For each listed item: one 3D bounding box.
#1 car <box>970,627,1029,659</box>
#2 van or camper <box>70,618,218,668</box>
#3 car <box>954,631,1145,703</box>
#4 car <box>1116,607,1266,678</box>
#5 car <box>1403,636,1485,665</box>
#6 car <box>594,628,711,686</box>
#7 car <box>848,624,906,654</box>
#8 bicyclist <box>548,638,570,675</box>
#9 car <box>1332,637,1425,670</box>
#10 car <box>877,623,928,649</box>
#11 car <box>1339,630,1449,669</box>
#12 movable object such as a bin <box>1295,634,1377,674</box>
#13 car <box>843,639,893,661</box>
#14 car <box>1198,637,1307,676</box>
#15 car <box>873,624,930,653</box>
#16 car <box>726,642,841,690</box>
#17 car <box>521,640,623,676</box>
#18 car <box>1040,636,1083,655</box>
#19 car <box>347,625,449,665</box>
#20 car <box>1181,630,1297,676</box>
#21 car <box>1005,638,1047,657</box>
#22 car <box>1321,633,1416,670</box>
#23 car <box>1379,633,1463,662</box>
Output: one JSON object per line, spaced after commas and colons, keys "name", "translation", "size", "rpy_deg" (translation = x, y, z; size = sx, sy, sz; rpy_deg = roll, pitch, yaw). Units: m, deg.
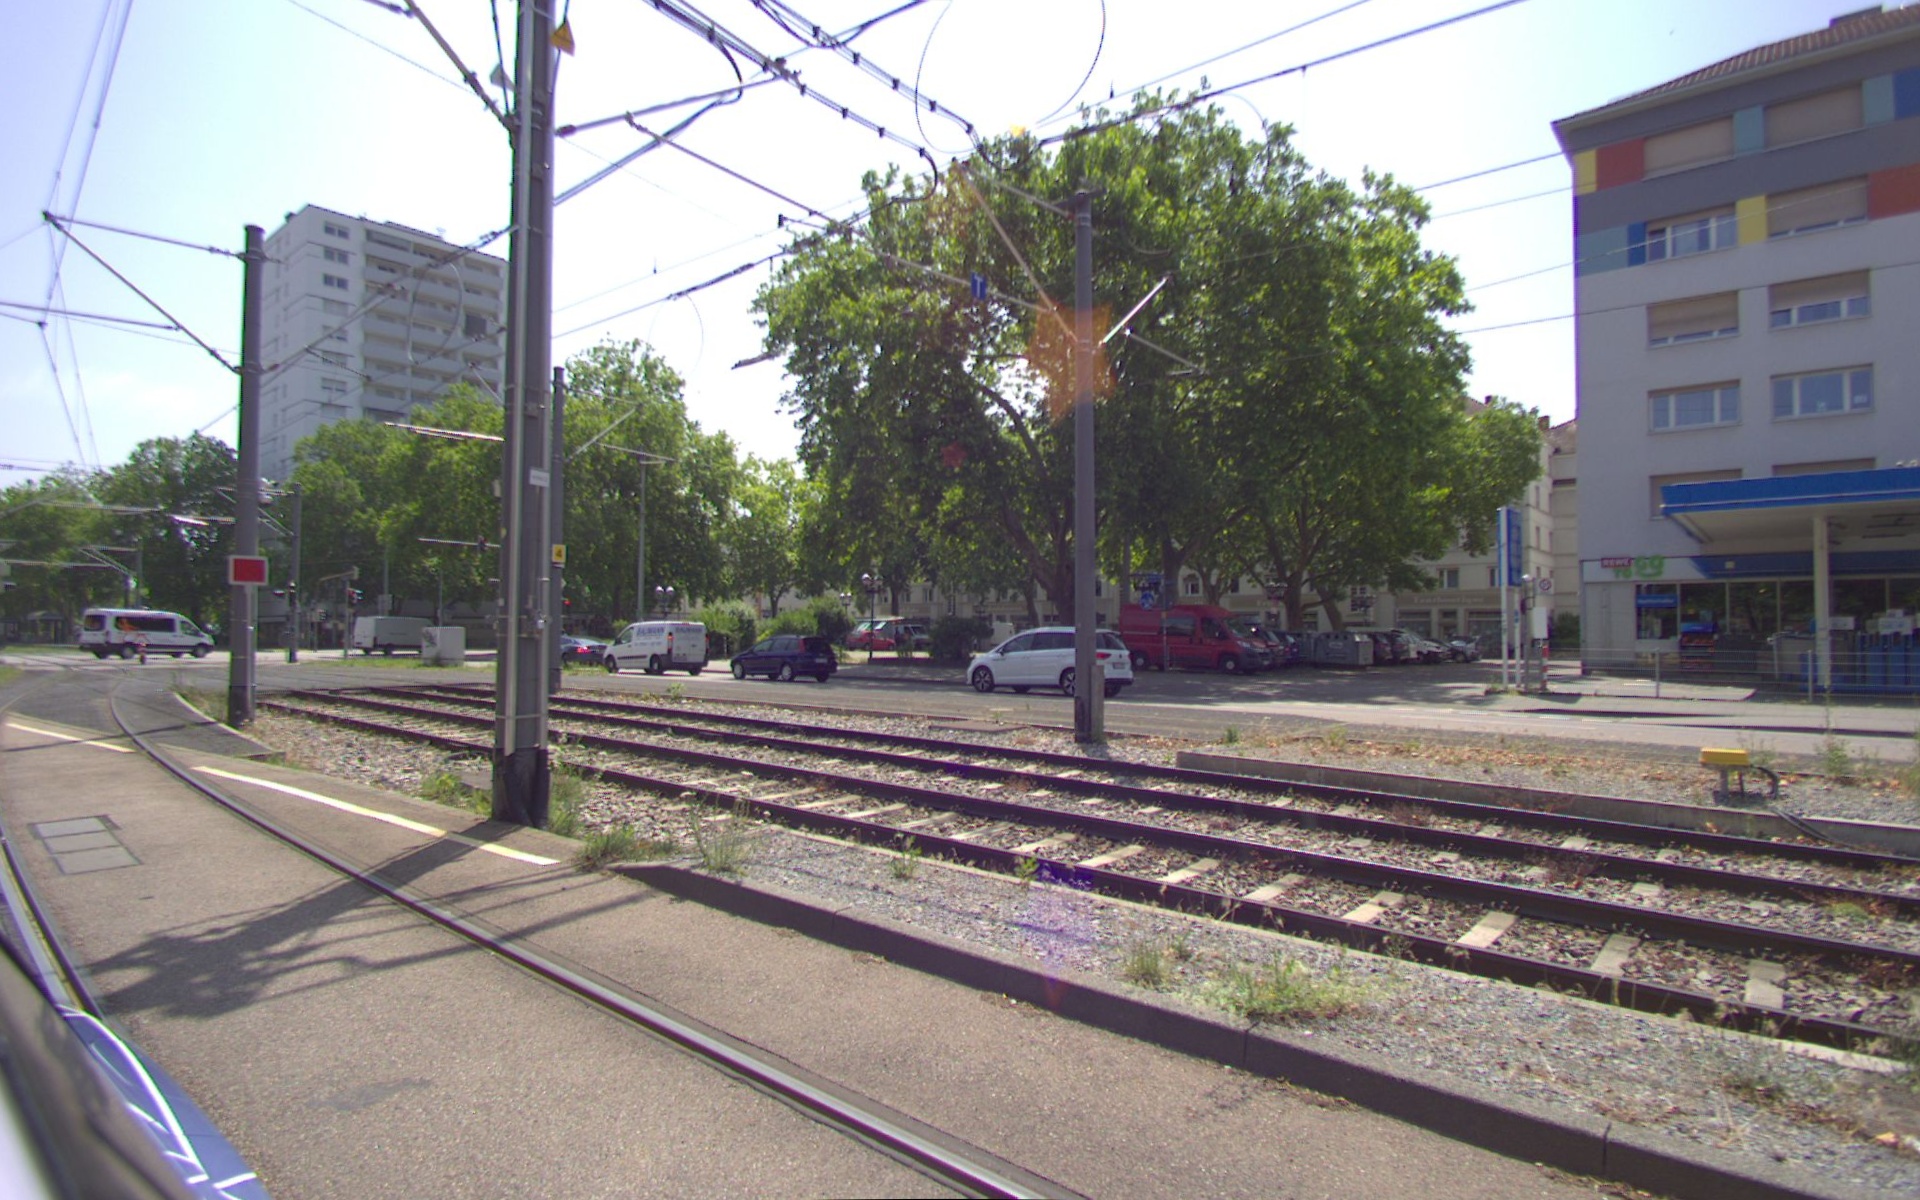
{"name": "car", "translation": [3.460, 3.663, 87.692], "size": [2.106, 2.680, 5.634], "rpy_deg": [-2, -2, 40]}
{"name": "van or camper", "translation": [-42.650, 2.267, 53.118], "size": [2.056, 2.480, 5.869], "rpy_deg": [-1, -3, 17]}
{"name": "car", "translation": [2.163, 1.621, 25.335], "size": [4.601, 1.638, 1.827], "rpy_deg": [-2, -4, 42]}
{"name": "car", "translation": [8.238, 1.487, 36.349], "size": [4.978, 2.411, 1.828], "rpy_deg": [0, -3, 40]}
{"name": "car", "translation": [28.558, 2.963, 59.803], "size": [3.997, 1.623, 1.973], "rpy_deg": [-2, -2, 40]}
{"name": "car", "translation": [-11.386, 2.051, 37.317], "size": [4.800, 2.006, 1.759], "rpy_deg": [-2, -3, 40]}
{"name": "car", "translation": [-6.018, 2.815, 73.069], "size": [3.998, 2.099, 1.973], "rpy_deg": [-2, -2, 41]}
{"name": "bicyclist", "translation": [-18.783, 2.641, 47.397], "size": [0.867, 1.698, 0.632], "rpy_deg": [-2, -2, 38]}
{"name": "car", "translation": [21.187, 2.686, 51.301], "size": [3.995, 1.622, 1.845], "rpy_deg": [-2, -3, 38]}
{"name": "car", "translation": [-4.777, 3.006, 84.297], "size": [3.998, 2.099, 1.973], "rpy_deg": [-2, -2, 41]}
{"name": "car", "translation": [23.137, 2.620, 54.046], "size": [5.097, 2.006, 1.900], "rpy_deg": [-2, -3, 36]}
{"name": "movable object such as a bin", "translation": [15.867, 2.254, 42.736], "size": [2.724, 1.623, 1.959], "rpy_deg": [-2, -2, 41]}
{"name": "car", "translation": [-6.130, 3.332, 67.720], "size": [1.471, 1.394, 3.300], "rpy_deg": [-2, -2, 40]}
{"name": "car", "translation": [12.230, 2.333, 42.482], "size": [3.997, 1.538, 1.844], "rpy_deg": [-2, -3, 41]}
{"name": "car", "translation": [-4.383, 2.819, 75.079], "size": [3.998, 2.099, 1.973], "rpy_deg": [-2, -2, 41]}
{"name": "car", "translation": [-5.670, 2.069, 32.295], "size": [3.779, 1.431, 1.580], "rpy_deg": [-2, -4, 41]}
{"name": "car", "translation": [-15.898, 2.348, 41.374], "size": [4.624, 1.369, 1.927], "rpy_deg": [-2, -3, 40]}
{"name": "car", "translation": [8.027, 3.580, 79.675], "size": [1.621, 1.420, 3.658], "rpy_deg": [-2, -2, 40]}
{"name": "car", "translation": [-38.661, 3.066, 69.870], "size": [2.059, 2.657, 6.597], "rpy_deg": [-1, -2, 16]}
{"name": "car", "translation": [11.019, 2.052, 40.113], "size": [3.998, 1.733, 1.973], "rpy_deg": [-2, -2, 41]}
{"name": "car", "translation": [5.507, 3.921, 83.878], "size": [1.621, 1.420, 3.658], "rpy_deg": [-2, -2, 40]}
{"name": "car", "translation": [19.958, 2.476, 49.552], "size": [3.997, 1.719, 1.582], "rpy_deg": [-2, -2, 40]}
{"name": "car", "translation": [25.616, 2.613, 56.306], "size": [3.993, 1.560, 1.648], "rpy_deg": [-1, -3, 37]}
